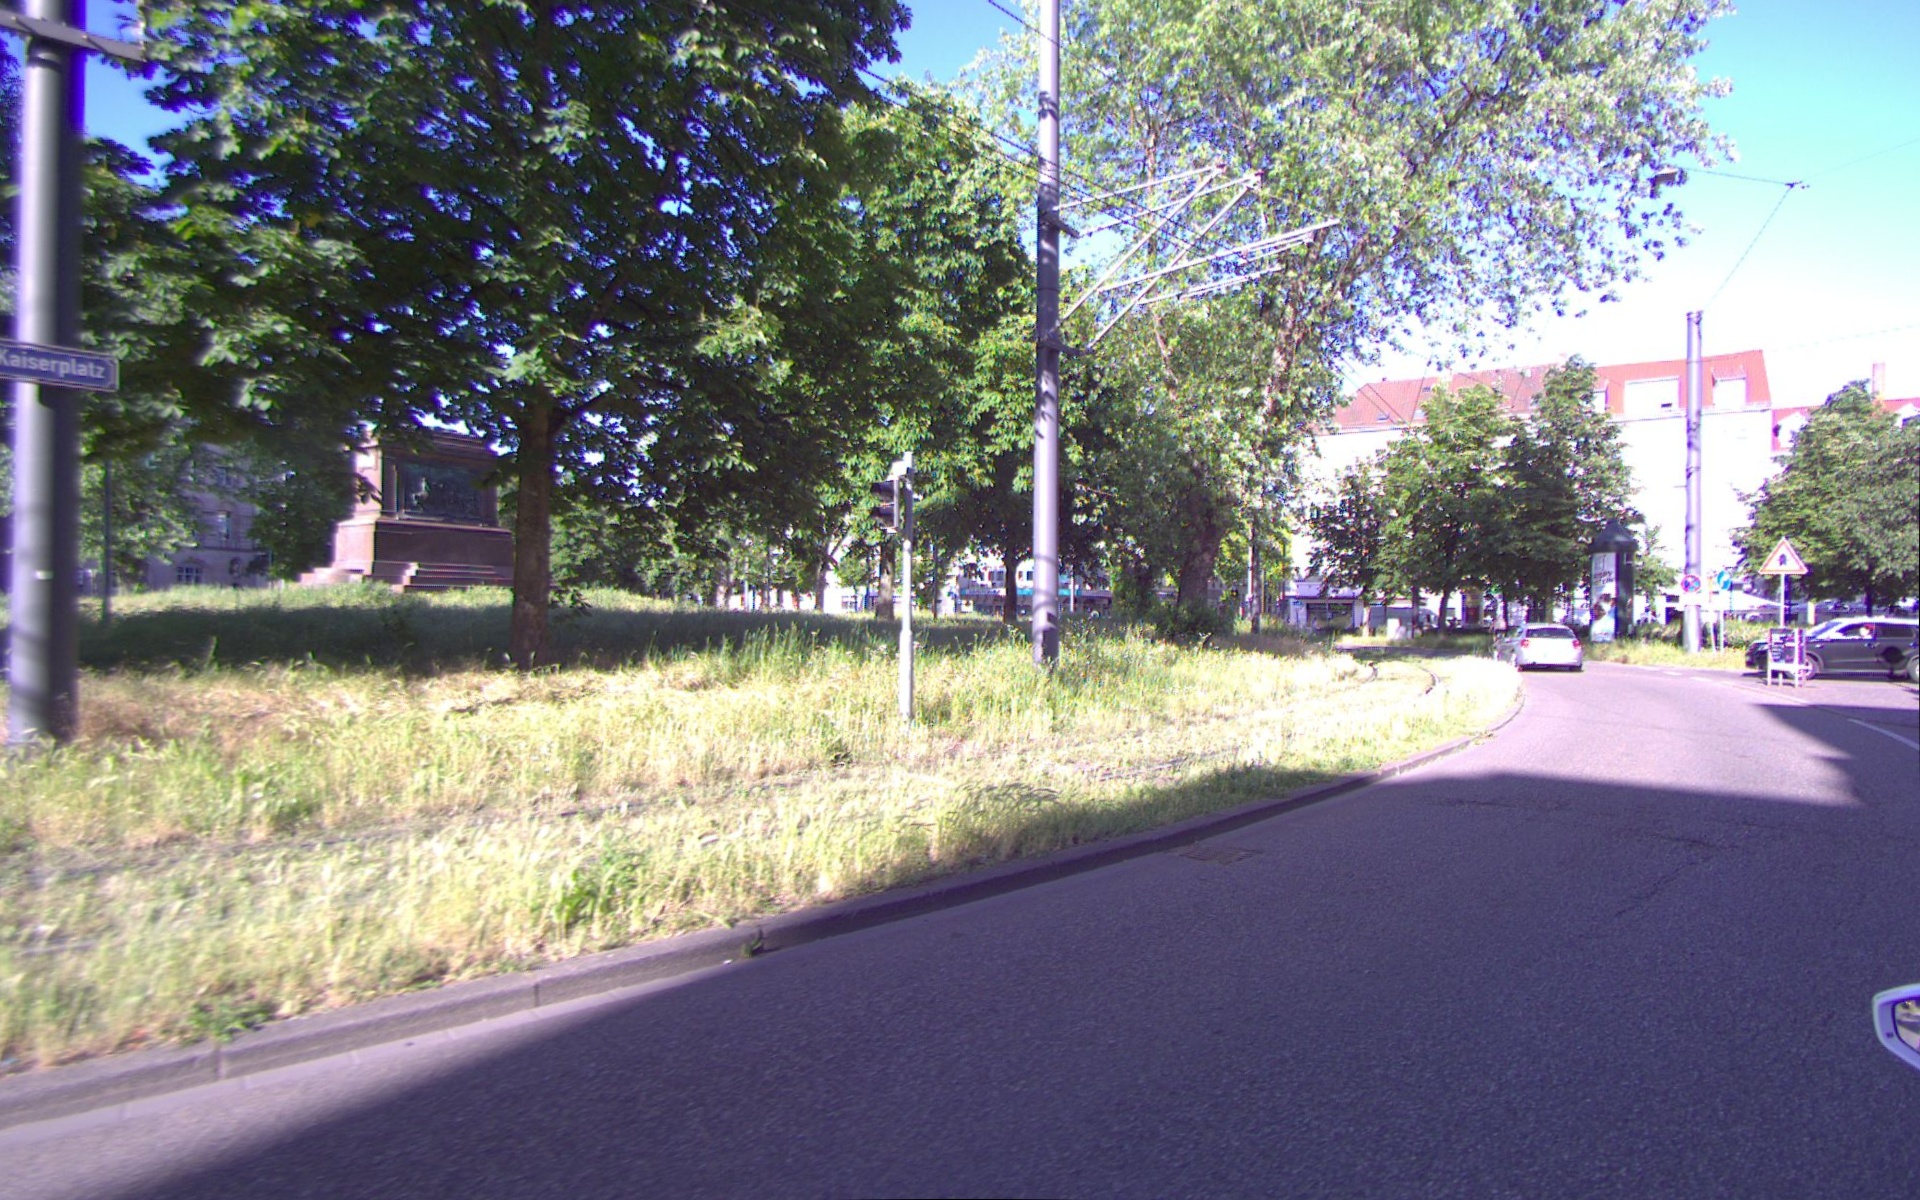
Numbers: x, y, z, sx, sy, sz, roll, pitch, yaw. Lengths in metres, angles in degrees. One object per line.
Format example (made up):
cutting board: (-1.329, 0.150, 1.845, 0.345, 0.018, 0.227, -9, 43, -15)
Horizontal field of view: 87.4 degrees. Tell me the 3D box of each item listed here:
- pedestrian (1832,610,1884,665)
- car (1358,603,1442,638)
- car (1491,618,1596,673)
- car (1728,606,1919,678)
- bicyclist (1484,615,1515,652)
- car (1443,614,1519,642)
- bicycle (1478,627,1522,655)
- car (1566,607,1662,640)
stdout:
pedestrian: (25.905, 1.075, 29.006, 0.755, 1.542, 0.958, 3, 0, 20)
car: (32.243, 1.483, 73.652, 5.264, 2.345, 1.994, 3, 0, 35)
car: (17.633, 1.328, 30.578, 1.961, 1.442, 4.197, 3, 0, 20)
car: (22.264, 1.054, 25.673, 3.793, 1.704, 1.812, 1, -1, 18)
bicyclist: (22.871, 1.405, 42.593, 0.913, 1.527, 0.826, 3, 0, 9)
car: (39.016, 2.096, 75.304, 4.793, 1.828, 1.903, 3, 0, 36)
bicycle: (22.815, 1.719, 42.518, 0.796, 1.083, 2.584, 3, 0, 9)
car: (45.866, 1.624, 70.645, 5.496, 2.040, 1.814, 3, 0, 31)
